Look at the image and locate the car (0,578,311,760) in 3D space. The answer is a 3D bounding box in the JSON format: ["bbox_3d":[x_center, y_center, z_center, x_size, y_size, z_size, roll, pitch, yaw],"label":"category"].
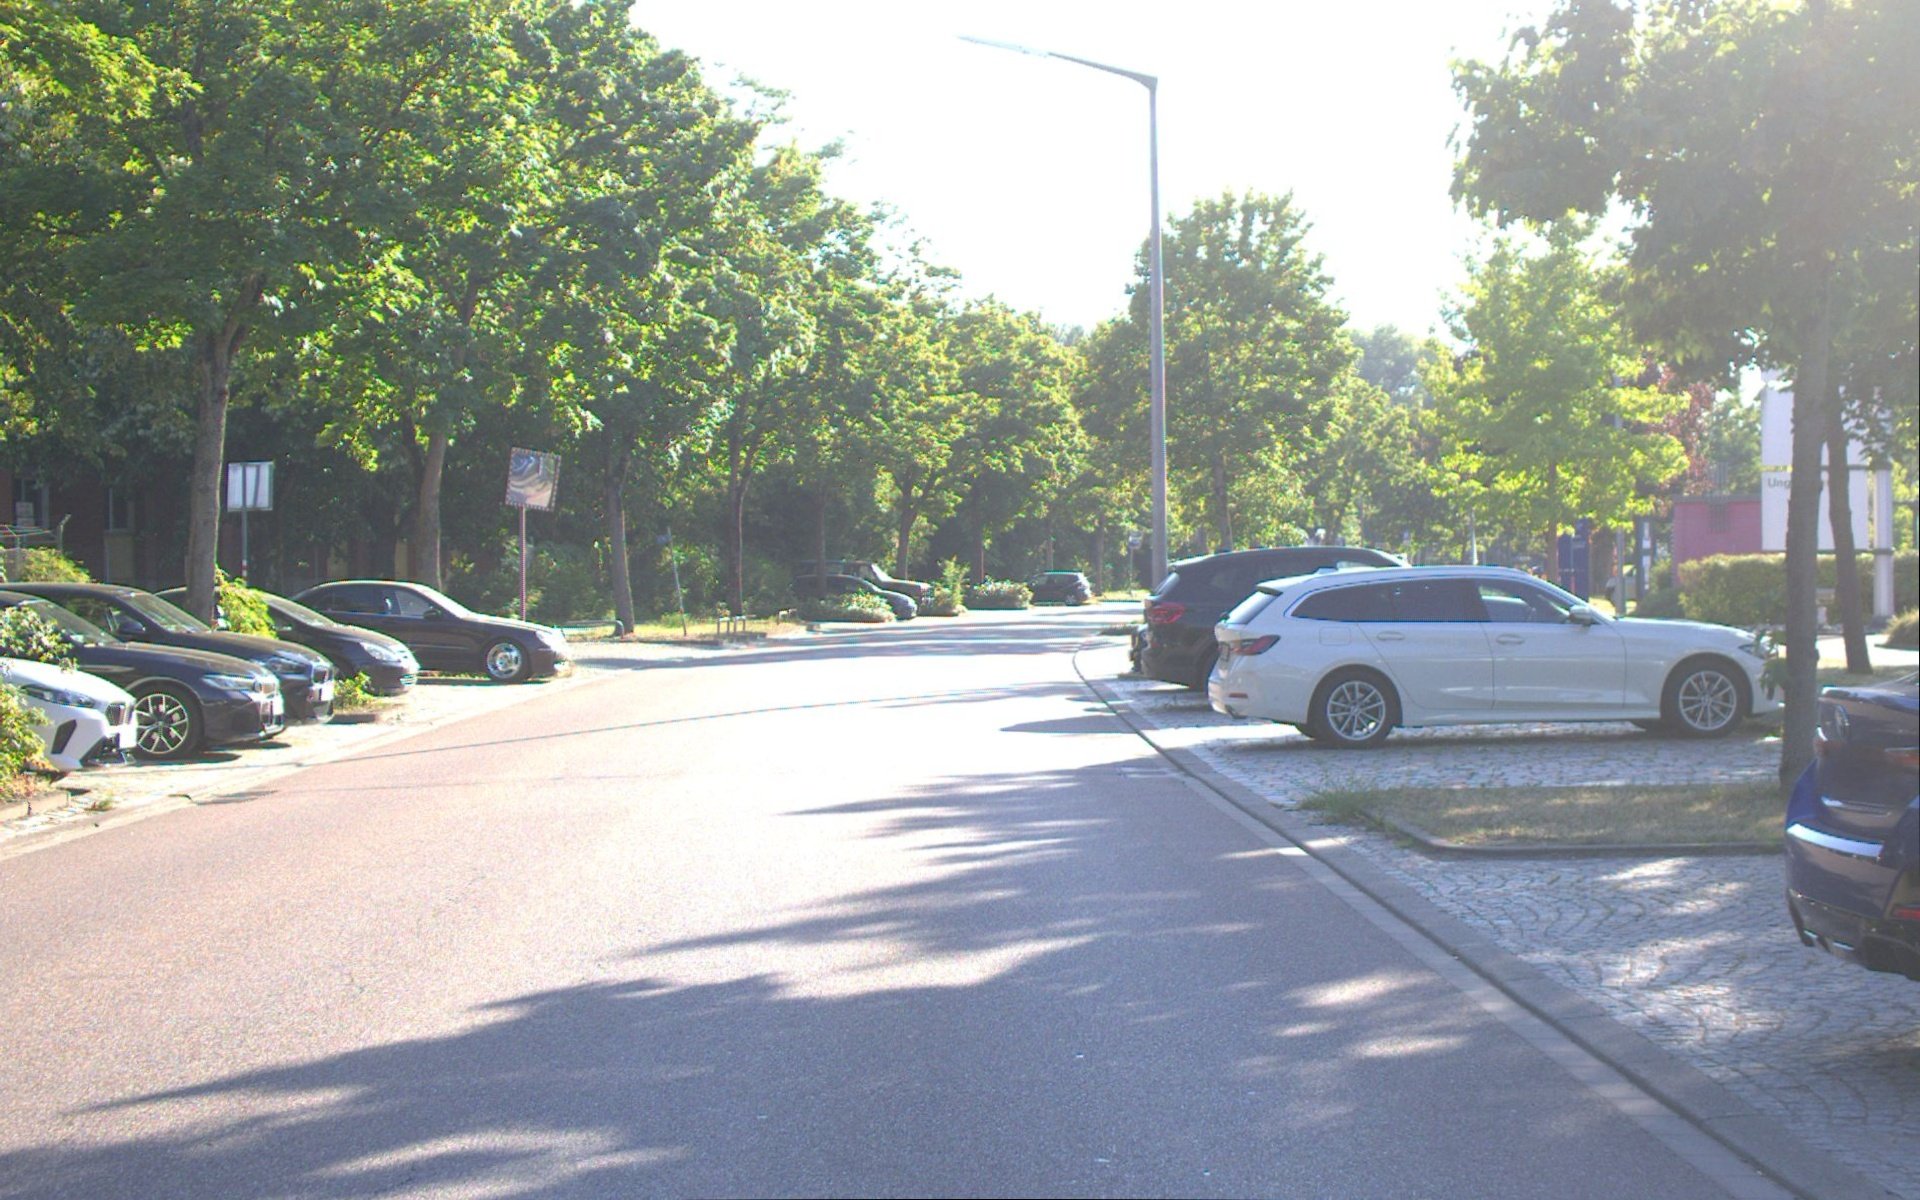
[{"bbox_3d":[-8.452,0.582,31.076,4.849,1.525,2.000,1,0,-3],"label":"car"}]

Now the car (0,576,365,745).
[{"bbox_3d":[-8.245,0.557,33.634,4.479,1.525,2.000,1,0,0],"label":"car"}]

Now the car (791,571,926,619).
[{"bbox_3d":[-3.295,-0.168,112.103,4.213,1.525,1.705,-1,0,6],"label":"car"}]

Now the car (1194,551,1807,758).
[{"bbox_3d":[4.389,0.425,28.469,4.694,1.474,2.000,-2,1,-1],"label":"car"}]

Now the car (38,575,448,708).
[{"bbox_3d":[-8.558,0.479,41.314,4.479,1.457,2.000,1,0,0],"label":"car"}]

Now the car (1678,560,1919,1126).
[{"bbox_3d":[4.637,0.548,9.981,4.624,1.451,2.000,-2,1,-1],"label":"car"}]

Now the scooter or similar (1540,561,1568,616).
[{"bbox_3d":[14.122,-0.279,81.753,0.520,1.267,1.387,-1,0,5],"label":"scooter or similar"}]

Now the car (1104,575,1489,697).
[{"bbox_3d":[4.062,0.425,42.047,4.481,1.399,2.034,-1,1,0],"label":"car"}]

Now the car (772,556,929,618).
[{"bbox_3d":[-3.681,-0.445,116.047,5.006,2.013,2.174,-1,0,7],"label":"car"}]

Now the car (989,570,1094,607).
[{"bbox_3d":[3.614,-0.514,152.537,4.360,1.474,1.999,2,1,11],"label":"car"}]

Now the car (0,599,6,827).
[{"bbox_3d":[-8.228,0.664,20.339,4.648,1.417,1.917,1,0,-2],"label":"car"}]

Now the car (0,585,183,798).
[{"bbox_3d":[-8.305,0.636,26.184,4.286,1.525,2.000,1,0,1],"label":"car"}]

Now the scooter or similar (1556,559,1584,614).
[{"bbox_3d":[14.246,-0.323,80.284,0.520,1.268,1.200,-1,0,5],"label":"scooter or similar"}]

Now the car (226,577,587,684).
[{"bbox_3d":[-8.191,0.442,51.191,5.034,1.457,2.000,1,0,0],"label":"car"}]

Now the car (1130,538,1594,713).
[{"bbox_3d":[4.175,0.251,36.233,4.695,1.745,2.191,-1,1,4],"label":"car"}]
